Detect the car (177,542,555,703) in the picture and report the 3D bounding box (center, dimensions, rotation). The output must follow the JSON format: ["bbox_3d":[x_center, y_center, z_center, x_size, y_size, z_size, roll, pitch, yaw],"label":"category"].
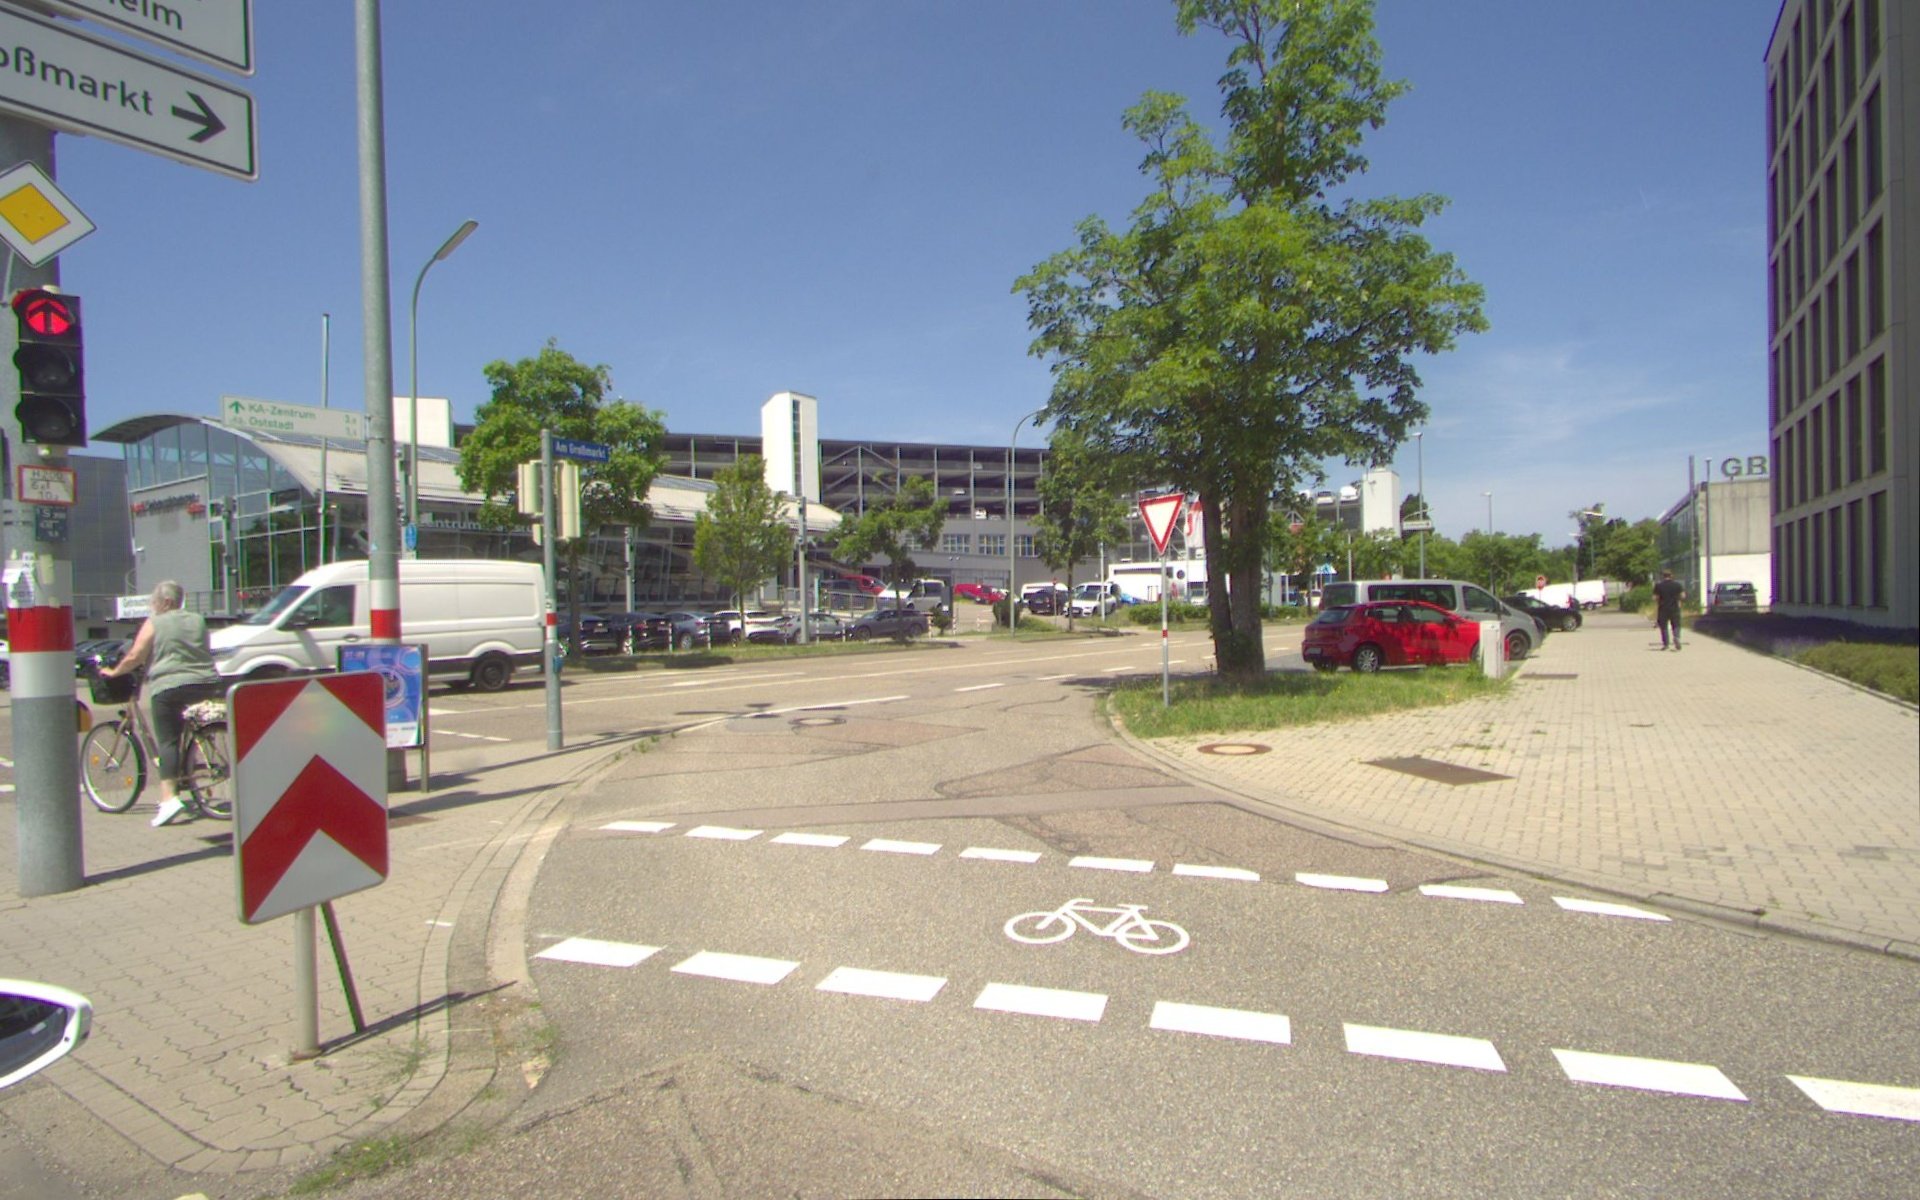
[{"bbox_3d":[-10.882,0.392,18.759,2.081,2.567,5.747,-2,-1,45],"label":"car"}]

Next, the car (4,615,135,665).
[{"bbox_3d":[-39.632,1.761,44.654,1.972,2.040,3.977,-1,0,33],"label":"car"}]

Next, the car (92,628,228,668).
[{"bbox_3d":[-32.926,1.927,41.319,1.694,1.480,4.083,0,0,33],"label":"car"}]

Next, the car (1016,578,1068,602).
[{"bbox_3d":[7.509,-0.925,91.776,4.257,2.040,1.989,-1,0,32],"label":"car"}]

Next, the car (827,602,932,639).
[{"bbox_3d":[-3.800,0.938,47.701,4.702,1.662,1.821,-1,1,-35],"label":"car"}]

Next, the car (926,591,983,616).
[{"bbox_3d":[-0.420,0.272,74.423,3.943,1.810,1.730,-1,0,32],"label":"car"}]

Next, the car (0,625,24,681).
[{"bbox_3d":[-27.278,1.449,25.497,1.973,1.476,4.729,-2,-1,34],"label":"car"}]

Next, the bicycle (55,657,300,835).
[{"bbox_3d":[-5.935,1.036,7.576,1.891,1.142,0.786,0,0,29],"label":"bicycle"}]

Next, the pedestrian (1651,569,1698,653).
[{"bbox_3d":[16.424,0.250,23.010,0.764,1.869,0.861,-2,0,40],"label":"pedestrian"}]

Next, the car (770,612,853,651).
[{"bbox_3d":[-7.297,1.513,49.257,3.659,1.801,1.739,-1,0,-31],"label":"car"}]

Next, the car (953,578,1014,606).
[{"bbox_3d":[1.812,-0.617,77.912,4.286,2.040,1.990,-1,0,30],"label":"car"}]

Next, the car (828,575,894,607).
[{"bbox_3d":[-6.672,-0.578,67.342,3.937,2.040,1.992,-1,0,27],"label":"car"}]

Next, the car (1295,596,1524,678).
[{"bbox_3d":[8.962,0.703,20.094,3.924,1.454,1.609,-2,0,-8],"label":"car"}]

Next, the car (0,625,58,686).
[{"bbox_3d":[-25.119,1.392,24.121,1.973,1.476,4.729,0,0,34],"label":"car"}]

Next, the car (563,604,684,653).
[{"bbox_3d":[-12.322,1.014,36.630,4.410,1.662,1.823,-1,1,32],"label":"car"}]

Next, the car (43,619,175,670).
[{"bbox_3d":[-37.278,1.906,43.950,1.972,2.040,3.977,-1,0,33],"label":"car"}]

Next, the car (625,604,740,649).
[{"bbox_3d":[-10.842,1.014,39.048,4.410,1.662,1.823,-1,1,32],"label":"car"}]

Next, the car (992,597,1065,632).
[{"bbox_3d":[4.153,0.867,60.949,3.943,2.040,1.989,-1,0,32],"label":"car"}]

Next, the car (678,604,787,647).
[{"bbox_3d":[-9.398,1.011,41.296,4.410,1.662,1.823,-1,1,32],"label":"car"}]

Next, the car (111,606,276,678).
[{"bbox_3d":[-19.416,1.004,25.339,4.207,1.661,1.989,-1,0,32],"label":"car"}]

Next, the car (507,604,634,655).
[{"bbox_3d":[-13.499,0.993,34.632,4.410,1.662,1.823,-1,1,32],"label":"car"}]

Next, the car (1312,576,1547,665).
[{"bbox_3d":[10.855,0.455,23.239,4.814,1.839,1.704,-2,0,-10],"label":"car"}]

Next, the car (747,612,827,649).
[{"bbox_3d":[-8.908,1.555,51.562,3.712,1.795,1.761,-1,0,-28],"label":"car"}]

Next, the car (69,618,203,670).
[{"bbox_3d":[-34.901,1.816,42.516,1.972,2.040,3.977,-1,0,33],"label":"car"}]

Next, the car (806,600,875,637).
[{"bbox_3d":[-6.917,1.036,58.308,1.839,2.040,3.732,-1,0,41],"label":"car"}]

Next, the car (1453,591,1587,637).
[{"bbox_3d":[21.552,0.552,38.642,4.075,1.558,1.815,-3,-1,2],"label":"car"}]

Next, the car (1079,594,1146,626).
[{"bbox_3d":[10.203,0.670,66.917,3.943,2.040,1.989,-1,0,32],"label":"car"}]

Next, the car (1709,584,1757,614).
[{"bbox_3d":[42.082,-0.043,54.573,1.765,1.542,3.556,-2,0,33],"label":"car"}]

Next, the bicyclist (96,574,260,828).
[{"bbox_3d":[-5.838,0.717,7.491,0.742,1.772,0.733,0,0,28],"label":"bicyclist"}]

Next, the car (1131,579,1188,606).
[{"bbox_3d":[15.568,-0.563,78.231,3.945,2.040,1.988,-1,0,34],"label":"car"}]

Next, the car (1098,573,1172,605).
[{"bbox_3d":[12.010,-0.756,68.885,4.578,2.040,1.989,-1,0,32],"label":"car"}]

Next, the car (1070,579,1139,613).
[{"bbox_3d":[9.211,-0.233,63.793,3.943,2.040,1.840,-1,0,32],"label":"car"}]

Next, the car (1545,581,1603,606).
[{"bbox_3d":[55.268,-0.545,90.160,4.304,2.149,2.080,-1,0,36],"label":"car"}]

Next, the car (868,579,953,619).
[{"bbox_3d":[-2.606,-0.060,53.979,1.972,2.040,5.117,-1,0,32],"label":"car"}]

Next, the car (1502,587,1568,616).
[{"bbox_3d":[41.661,0.130,72.537,3.949,2.040,1.986,-1,0,37],"label":"car"}]

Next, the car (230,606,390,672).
[{"bbox_3d":[-17.914,1.026,27.540,4.492,1.661,1.989,-1,0,32],"label":"car"}]
